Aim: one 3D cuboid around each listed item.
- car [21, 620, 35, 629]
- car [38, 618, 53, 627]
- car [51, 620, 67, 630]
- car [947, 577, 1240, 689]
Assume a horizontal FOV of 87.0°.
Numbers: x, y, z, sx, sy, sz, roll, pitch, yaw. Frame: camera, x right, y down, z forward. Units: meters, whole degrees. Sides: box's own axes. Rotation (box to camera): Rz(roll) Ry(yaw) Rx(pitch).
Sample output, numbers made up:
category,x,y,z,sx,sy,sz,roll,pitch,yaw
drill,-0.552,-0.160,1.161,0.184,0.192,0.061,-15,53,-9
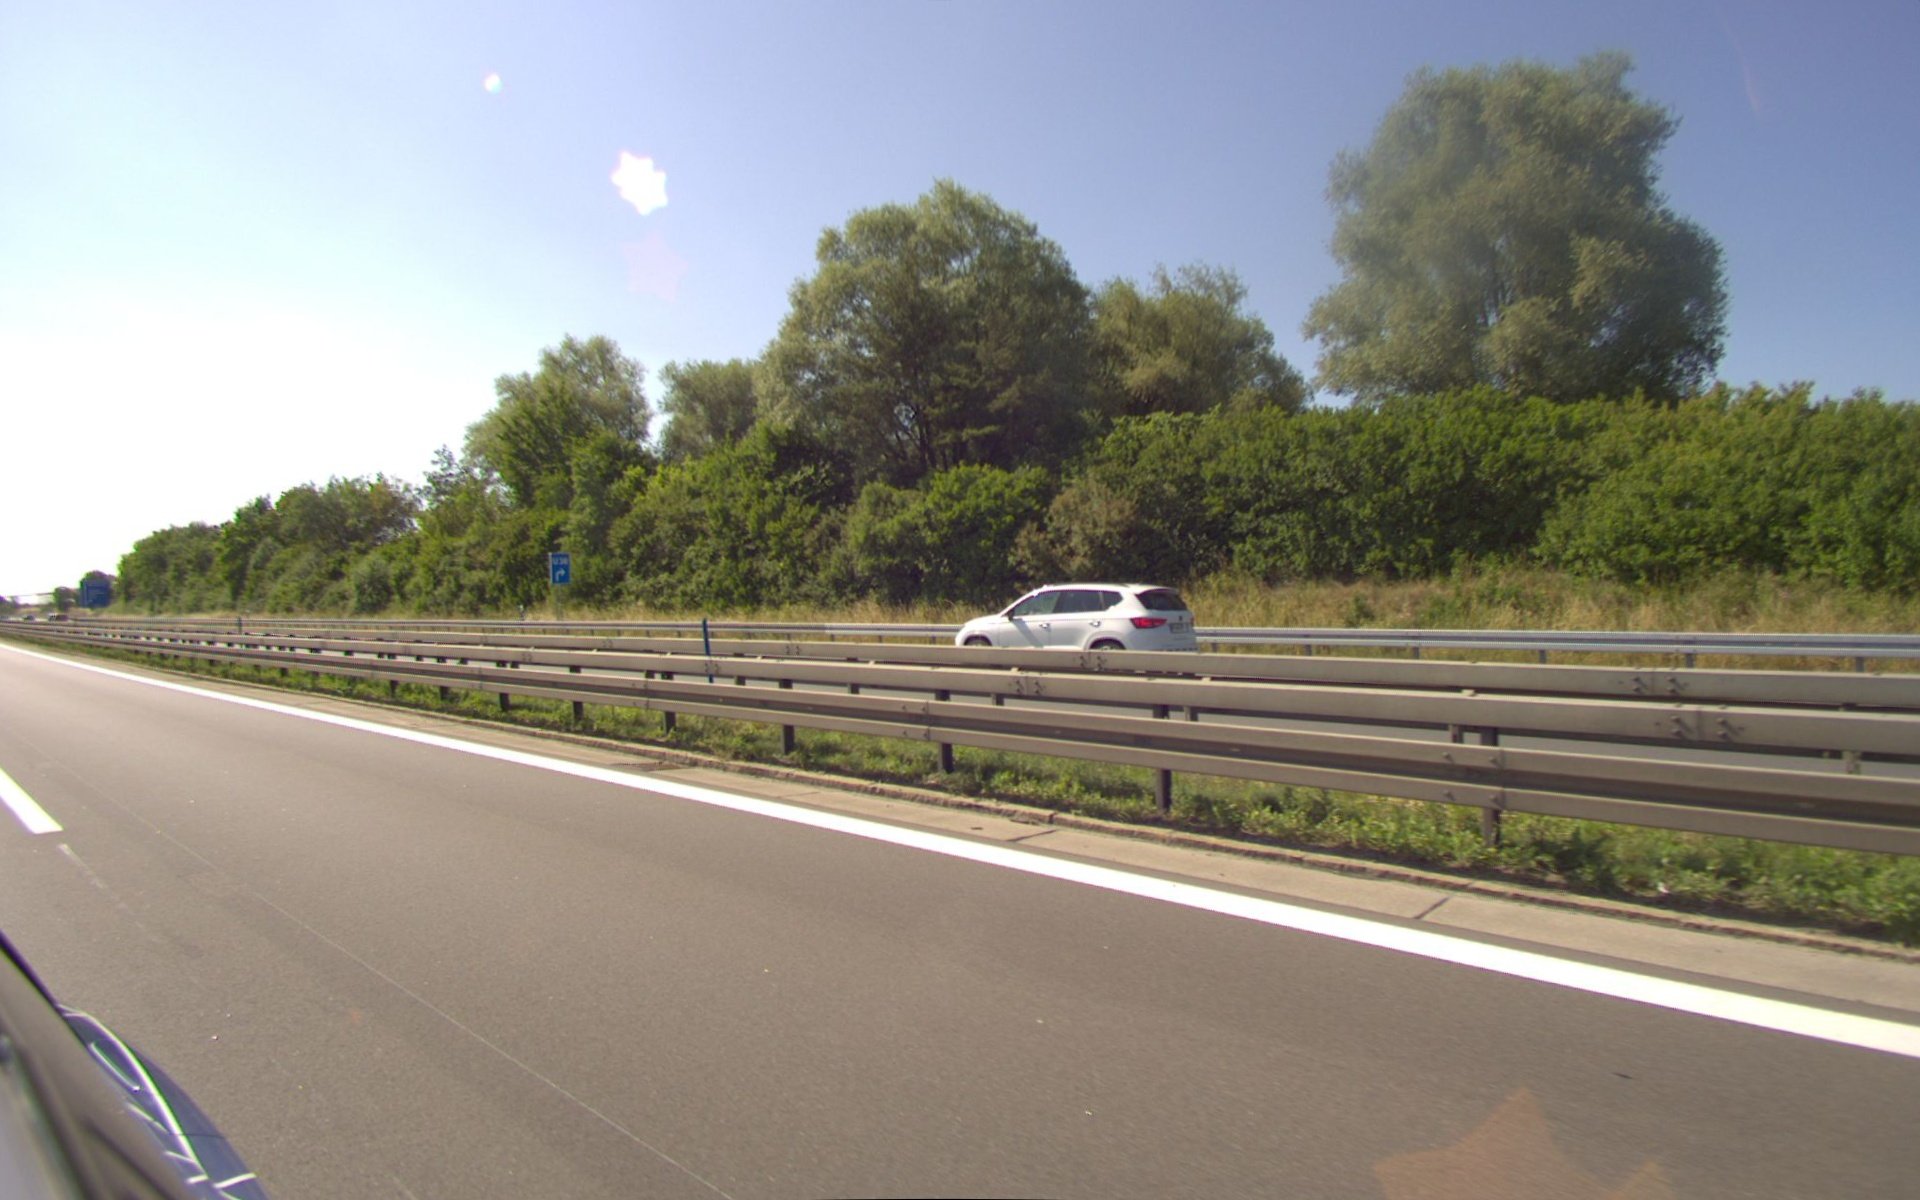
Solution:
category,x,y,z,sx,sy,sz,roll,pitch,yaw
car,-170.383,4.453,185.051,4.541,1.504,1.631,-1,0,44
car,-171.654,4.165,189.967,1.971,1.624,4.639,-1,0,-44
car,-145.441,4.045,163.292,4.541,1.504,1.631,-1,0,44
car,2.076,0.486,16.646,4.578,1.576,1.733,-1,1,41
